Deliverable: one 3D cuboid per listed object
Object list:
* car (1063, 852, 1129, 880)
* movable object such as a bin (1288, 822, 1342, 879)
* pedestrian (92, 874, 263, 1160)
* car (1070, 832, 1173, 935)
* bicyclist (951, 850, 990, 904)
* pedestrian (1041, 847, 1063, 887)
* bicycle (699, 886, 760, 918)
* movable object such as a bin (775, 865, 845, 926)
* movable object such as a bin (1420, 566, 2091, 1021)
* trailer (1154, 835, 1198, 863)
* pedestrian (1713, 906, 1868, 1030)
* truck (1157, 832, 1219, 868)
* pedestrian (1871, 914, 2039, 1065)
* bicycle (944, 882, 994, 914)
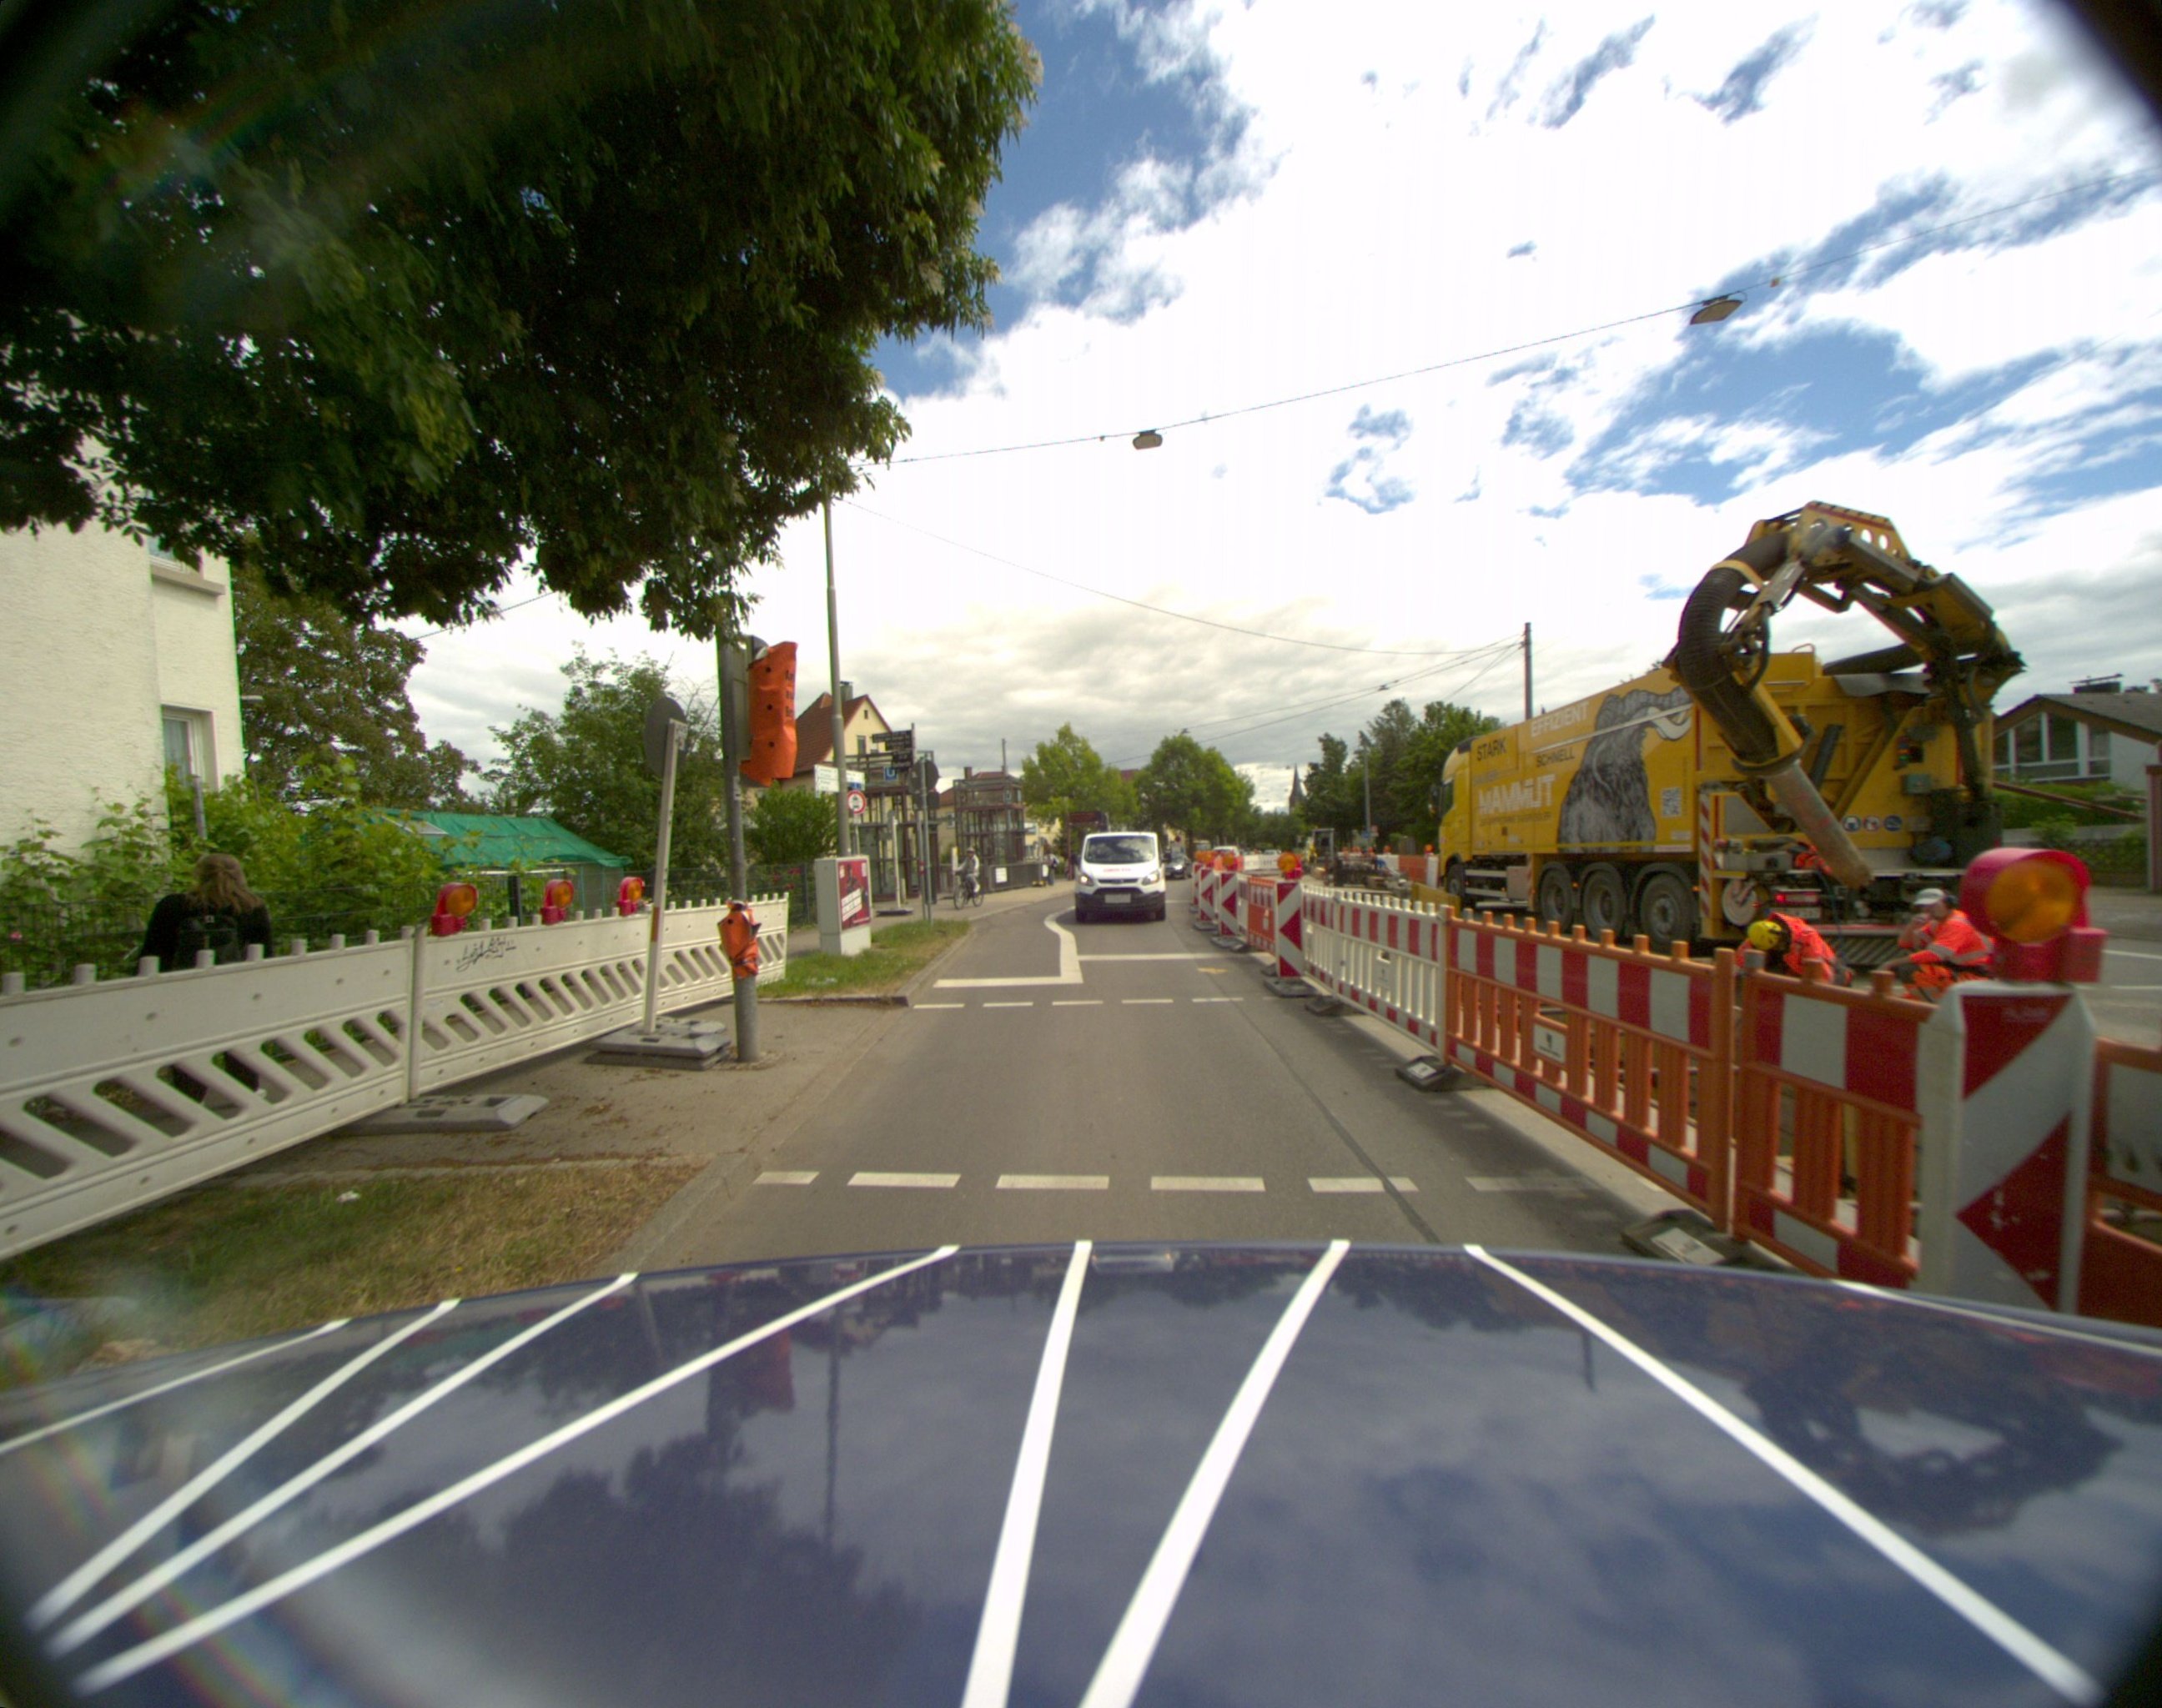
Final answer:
[{"bbox_3d":[0.909,0.774,49.003,3.990,1.615,1.873,-4,-1,45],"label":"car"},{"bbox_3d":[11.851,-0.203,38.171,1.995,2.610,6.532,-1,0,22],"label":"movable object such as a bin"},{"bbox_3d":[-5.325,0.895,4.519,0.523,1.531,0.634,-2,1,-41],"label":"pedestrian"},{"bbox_3d":[0.943,0.580,18.298,1.998,2.002,5.513,-3,1,2],"label":"car"},{"bbox_3d":[-3.020,0.616,20.880,0.657,1.407,1.180,-2,0,12],"label":"bicyclist"},{"bbox_3d":[-1.202,0.538,31.609,0.599,1.573,0.402,-8,1,12],"label":"pedestrian"},{"bbox_3d":[-12.830,1.742,27.853,0.567,0.974,2.472,-3,0,13],"label":"bicycle"},{"bbox_3d":[-6.975,1.061,19.585,1.269,1.461,1.006,-3,0,19],"label":"movable object such as a bin"},{"bbox_3d":[8.778,-0.558,12.692,2.596,4.197,11.127,-1,0,8],"label":"movable object such as a bin"},{"bbox_3d":[8.702,-0.480,69.359,2.595,2.232,5.682,-4,-1,20],"label":"trailer"},{"bbox_3d":[6.443,1.003,6.957,0.791,0.985,0.813,-1,1,22],"label":"pedestrian"},{"bbox_3d":[10.707,-0.352,76.855,2.346,3.178,6.620,-2,-3,-31],"label":"truck"},{"bbox_3d":[6.691,0.997,5.865,0.641,0.985,0.795,-1,1,32],"label":"pedestrian"},{"bbox_3d":[-3.054,1.190,20.859,0.636,0.749,2.064,-2,0,12],"label":"bicycle"}]
